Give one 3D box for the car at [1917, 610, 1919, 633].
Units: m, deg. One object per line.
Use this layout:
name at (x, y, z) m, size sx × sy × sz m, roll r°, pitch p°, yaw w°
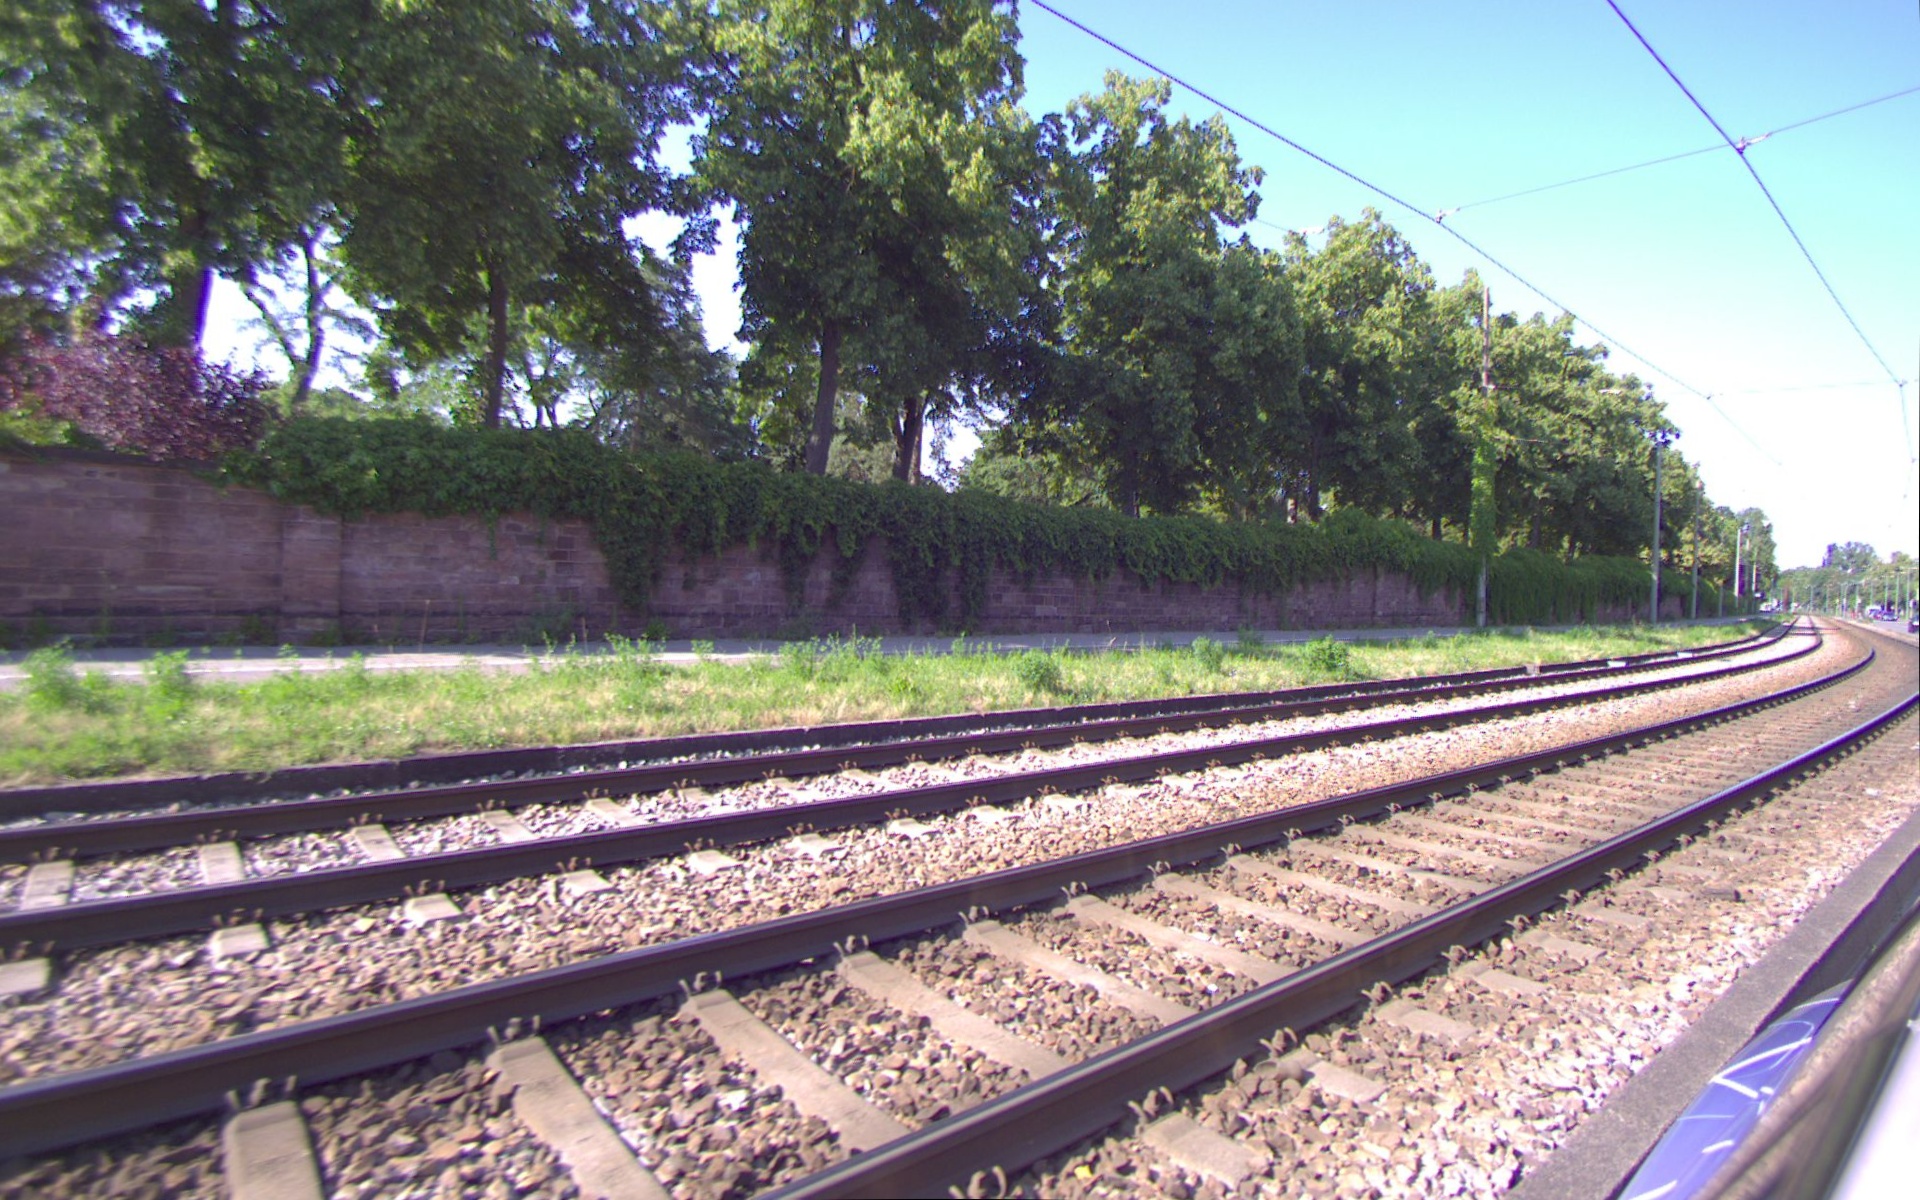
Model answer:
car at (68.069, 1.545, 70.428) m, size 1.702 × 1.610 × 3.946 m, roll 1°, pitch 0°, yaw 37°
